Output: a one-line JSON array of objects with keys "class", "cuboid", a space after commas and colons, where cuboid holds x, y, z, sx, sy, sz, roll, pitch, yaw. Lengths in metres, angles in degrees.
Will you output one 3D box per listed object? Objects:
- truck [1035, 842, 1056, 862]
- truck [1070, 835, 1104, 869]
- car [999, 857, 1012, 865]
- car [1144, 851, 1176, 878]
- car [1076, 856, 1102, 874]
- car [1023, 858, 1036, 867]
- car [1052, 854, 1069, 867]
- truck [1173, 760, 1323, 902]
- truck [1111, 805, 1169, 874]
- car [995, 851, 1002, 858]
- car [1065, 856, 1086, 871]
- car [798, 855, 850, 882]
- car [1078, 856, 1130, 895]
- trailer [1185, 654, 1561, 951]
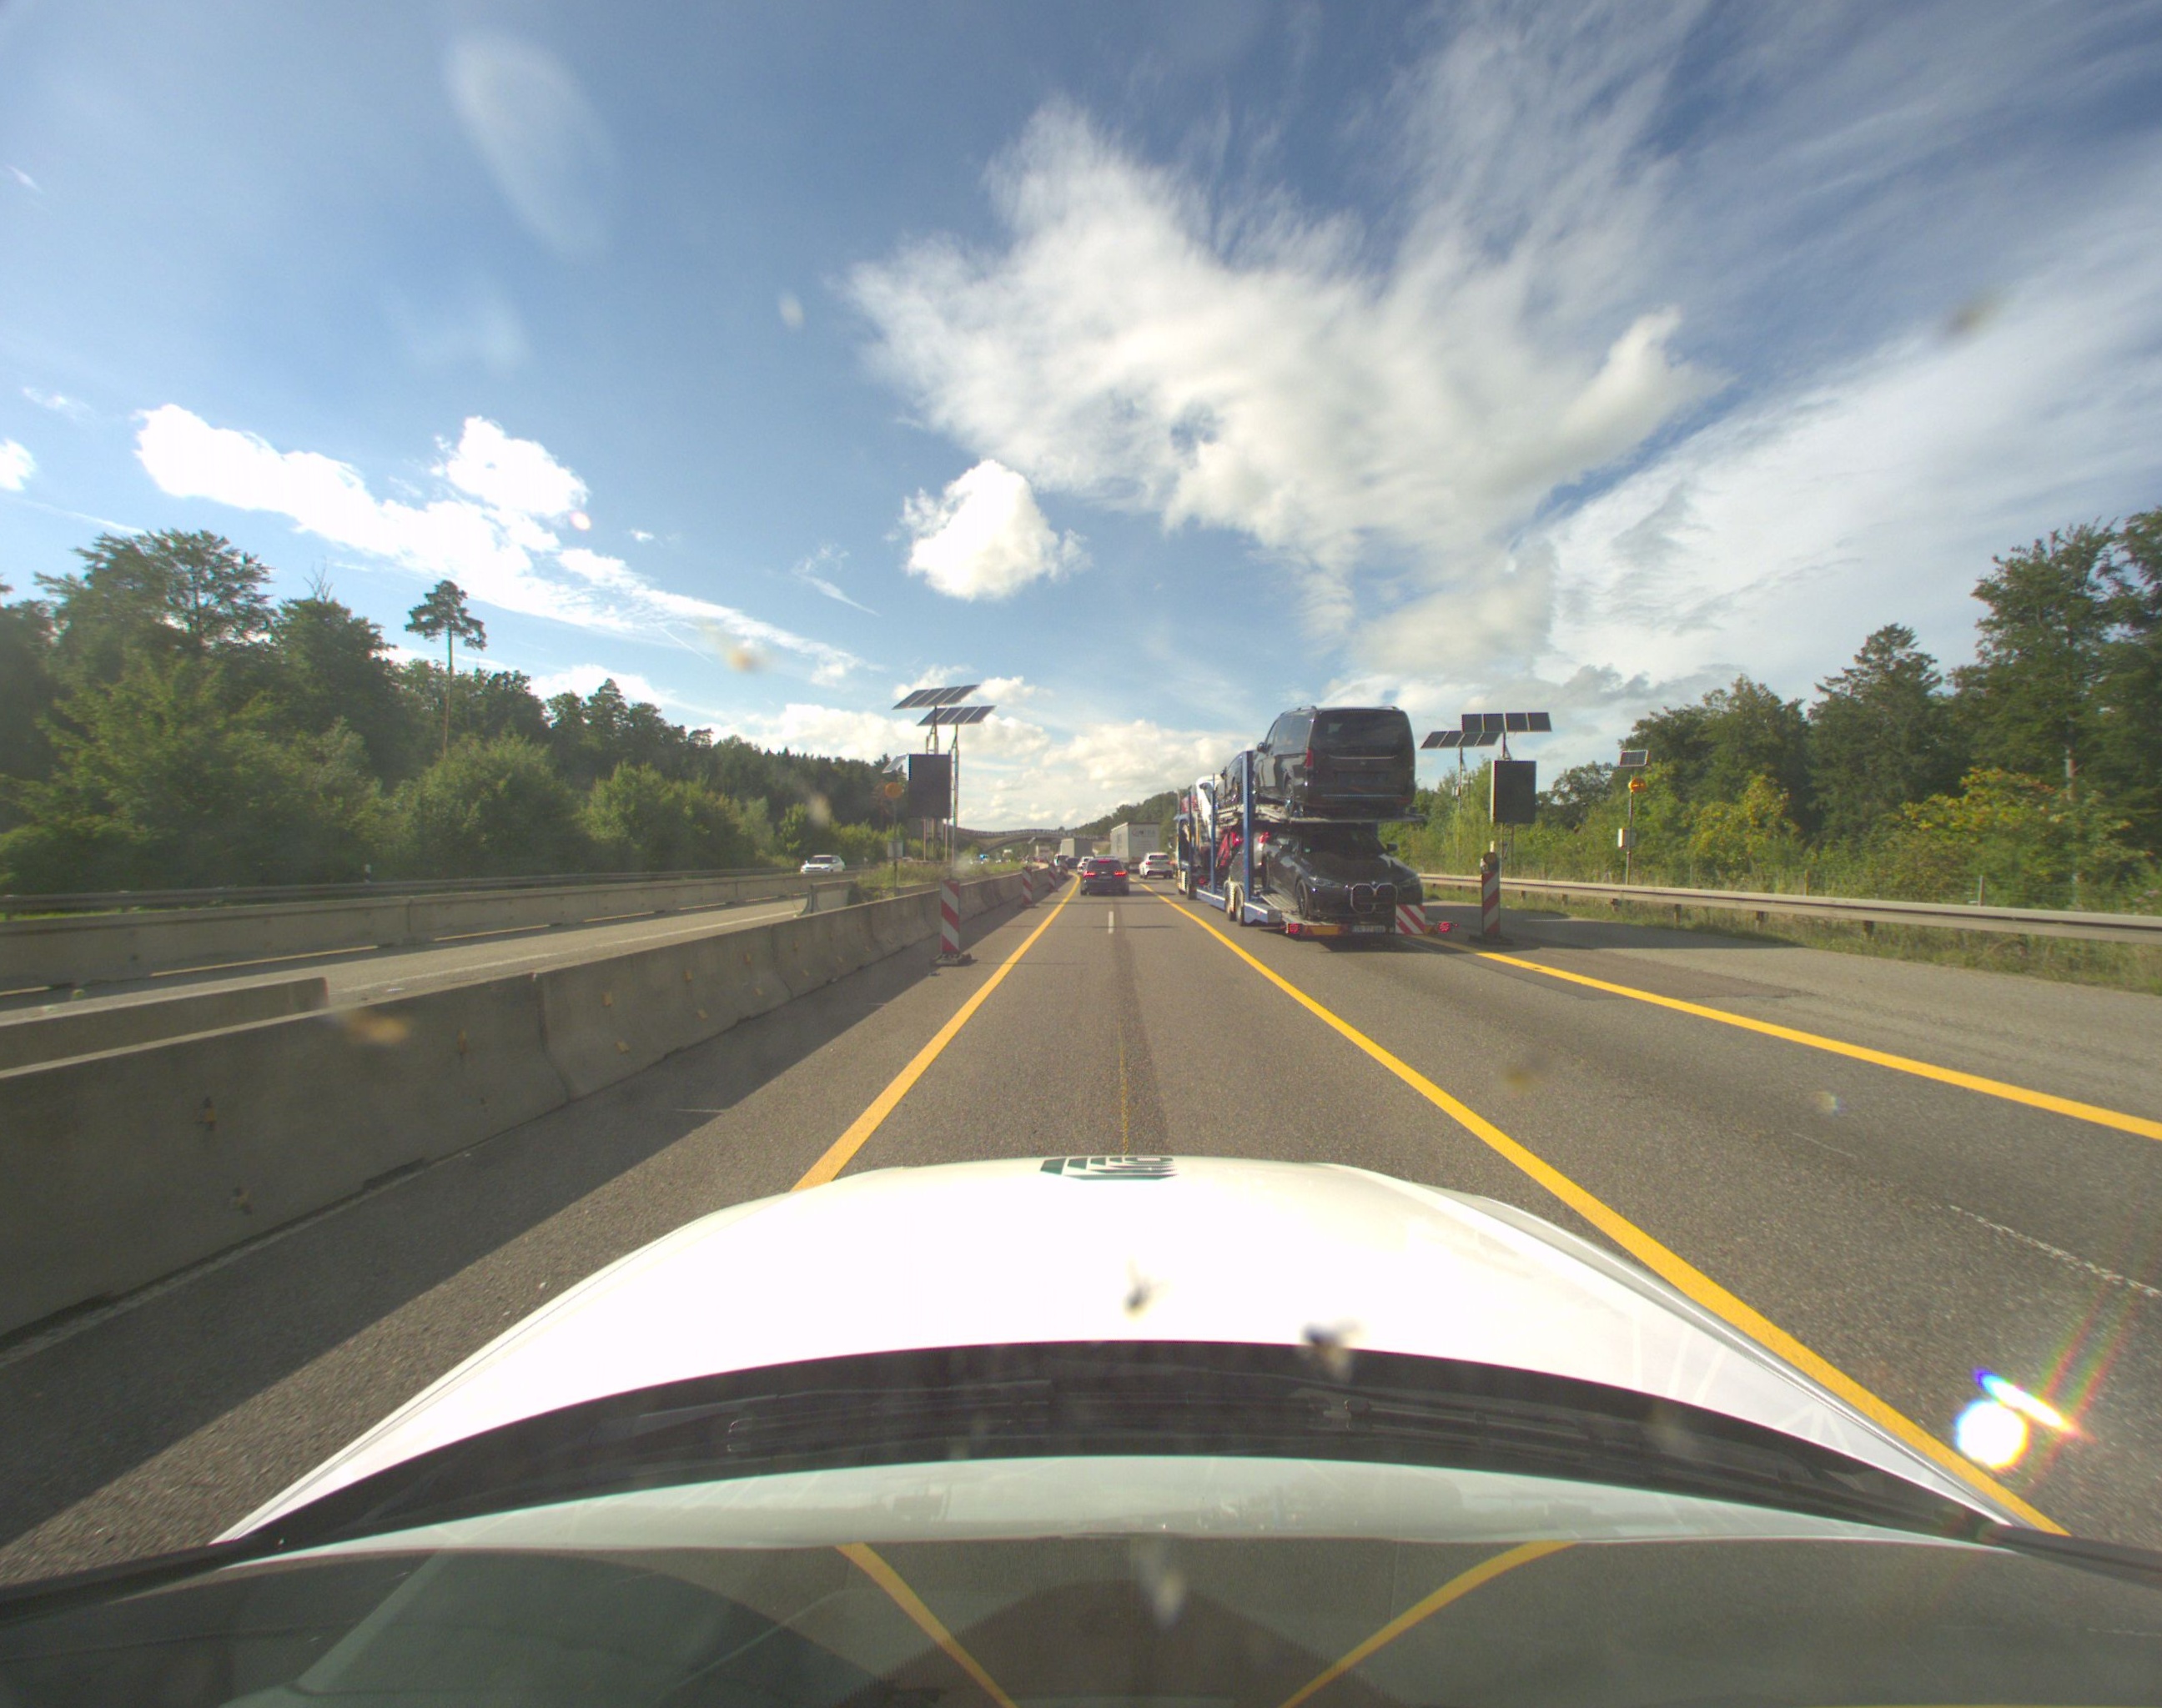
[{"class": "truck", "cuboid": [-7.679, -0.382, 172.889, 3.650, 3.928, 11.041, 0, 0, -7]}, {"class": "truck", "cuboid": [0.709, -0.249, 116.698, 4.309, 4.600, 11.113, 0, 0, -3]}, {"class": "car", "cuboid": [-14.944, 1.380, 161.218, 1.961, 1.602, 4.947, 0, 0, 0]}, {"class": "car", "cuboid": [5.028, 0.650, 52.170, 1.882, 1.643, 4.021, 0, 0, 3]}, {"class": "car", "cuboid": [0.630, 0.891, 66.545, 1.885, 1.446, 3.996, 0, 0, -2]}, {"class": "car", "cuboid": [-8.925, 1.510, 141.675, 1.778, 1.602, 4.003, 0, 0, -11]}, {"class": "car", "cuboid": [-2.549, 0.788, 101.456, 1.888, 1.643, 4.010, 0, 0, -6]}, {"class": "truck", "cuboid": [5.405, -0.670, 28.159, 3.747, 4.196, 7.953, 0, 0, 1]}, {"class": "truck", "cuboid": [4.875, -1.106, 71.699, 3.667, 5.353, 16.193, 0, 0, -1]}, {"class": "car", "cuboid": [-25.161, 0.163, 249.084, 1.775, 1.866, 3.998, 0, 0, -1]}, {"class": "car", "cuboid": [-0.645, 1.033, 88.483, 1.888, 1.643, 4.008, 0, 0, -7]}, {"class": "car", "cuboid": [-15.957, 0.852, 50.761, 1.770, 1.602, 4.021, 0, 0, 3]}, {"class": "car", "cuboid": [0.948, 0.802, 31.884, 1.882, 1.446, 4.004, 0, 0, 3]}, {"class": "trailer", "cuboid": [5.177, -0.701, 19.688, 3.712, 4.196, 16.232, 0, 0, 2]}]
